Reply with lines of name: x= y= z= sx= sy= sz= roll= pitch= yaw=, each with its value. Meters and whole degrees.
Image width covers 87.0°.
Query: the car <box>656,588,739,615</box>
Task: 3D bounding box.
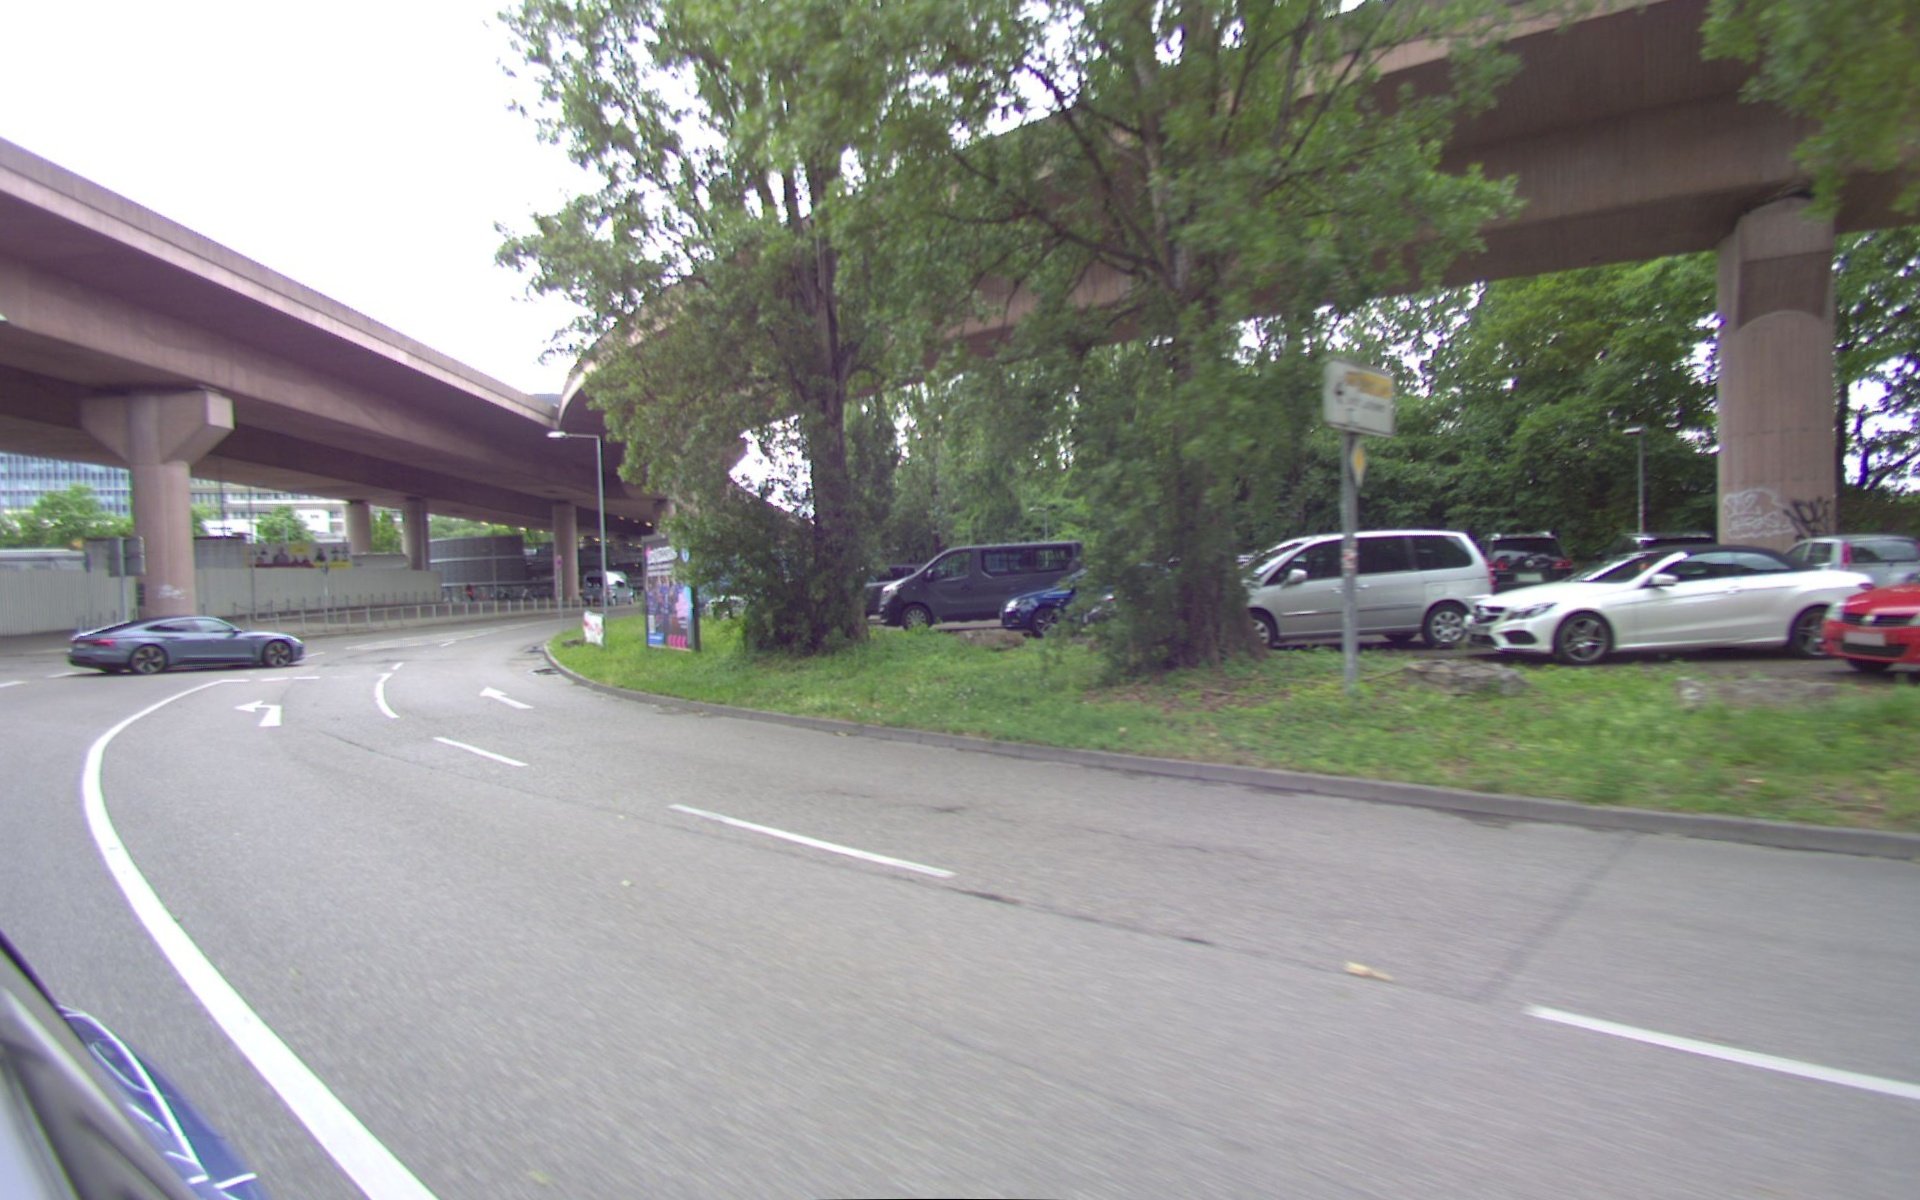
car: x=-12.462 y=0.071 z=48.086 sx=3.582 sy=1.243 sz=1.354 roll=1 pitch=-1 yaw=5

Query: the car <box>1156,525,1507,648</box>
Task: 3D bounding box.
car: x=5.432 y=-0.198 z=15.210 sx=4.612 sy=1.686 sz=1.696 roll=-1 pitch=1 yaw=1

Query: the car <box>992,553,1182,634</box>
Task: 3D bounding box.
car: x=2.531 y=-0.103 z=20.744 sx=3.573 sy=1.548 sz=1.698 roll=1 pitch=-1 yaw=-4

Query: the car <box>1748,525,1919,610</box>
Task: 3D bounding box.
car: x=16.191 y=-0.577 z=18.559 sx=1.361 sy=1.399 sz=3.411 roll=-1 pitch=1 yaw=12

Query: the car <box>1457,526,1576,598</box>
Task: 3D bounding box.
car: x=12.534 y=-0.830 z=22.956 sx=1.303 sy=1.498 sz=2.972 roll=-1 pitch=1 yaw=7

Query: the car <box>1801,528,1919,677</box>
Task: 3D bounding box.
car: x=10.768 y=-0.020 z=9.934 sx=3.654 sy=1.390 sz=1.565 roll=-1 pitch=1 yaw=1

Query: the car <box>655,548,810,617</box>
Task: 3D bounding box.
car: x=-8.821 y=-0.655 z=39.509 sx=5.617 sy=2.600 sz=1.826 roll=0 pitch=-1 yaw=6

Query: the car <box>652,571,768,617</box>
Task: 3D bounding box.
car: x=-10.472 y=-0.248 z=42.483 sx=4.437 sy=1.870 sz=1.632 roll=0 pitch=-1 yaw=6

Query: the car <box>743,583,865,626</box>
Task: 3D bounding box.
car: x=-4.710 y=0.151 z=30.859 sx=3.573 sy=1.243 sz=1.357 roll=1 pitch=-1 yaw=-4

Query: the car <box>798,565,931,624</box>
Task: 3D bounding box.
car: x=-2.654 y=-0.132 z=28.236 sx=3.573 sy=1.576 sz=1.357 roll=1 pitch=-1 yaw=-4

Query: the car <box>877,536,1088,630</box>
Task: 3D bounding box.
car: x=0.544 y=-0.366 z=23.351 sx=4.662 sy=2.029 sz=1.853 roll=1 pitch=-1 yaw=5

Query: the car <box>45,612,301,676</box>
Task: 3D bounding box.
car: x=-19.494 y=1.021 z=25.344 sx=1.925 sy=1.369 sz=4.709 roll=-1 pitch=0 yaw=28

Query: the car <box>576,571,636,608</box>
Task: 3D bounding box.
car: x=-26.979 y=-0.758 z=77.358 sx=2.272 sy=2.605 sz=5.681 roll=1 pitch=-1 yaw=3

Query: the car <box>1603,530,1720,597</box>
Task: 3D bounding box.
car: x=14.310 y=-0.718 z=20.774 sx=1.310 sy=1.244 sz=2.956 roll=-1 pitch=1 yaw=21

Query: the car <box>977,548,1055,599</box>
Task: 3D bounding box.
car: x=2.154 y=-0.989 z=38.041 sx=1.634 sy=1.813 sz=3.511 roll=-1 pitch=1 yaw=27

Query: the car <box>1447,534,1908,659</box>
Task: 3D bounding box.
car: x=8.746 y=-0.047 z=12.643 sx=4.456 sy=1.374 sz=1.695 roll=-1 pitch=1 yaw=2

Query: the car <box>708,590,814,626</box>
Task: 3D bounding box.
car: x=-7.177 y=0.291 z=36.673 sx=3.576 sy=1.243 sz=1.356 roll=1 pitch=-1 yaw=-1

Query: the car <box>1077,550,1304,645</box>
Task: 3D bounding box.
car: x=3.969 y=-0.054 z=17.856 sx=3.578 sy=1.548 sz=1.696 roll=1 pitch=1 yaw=1
